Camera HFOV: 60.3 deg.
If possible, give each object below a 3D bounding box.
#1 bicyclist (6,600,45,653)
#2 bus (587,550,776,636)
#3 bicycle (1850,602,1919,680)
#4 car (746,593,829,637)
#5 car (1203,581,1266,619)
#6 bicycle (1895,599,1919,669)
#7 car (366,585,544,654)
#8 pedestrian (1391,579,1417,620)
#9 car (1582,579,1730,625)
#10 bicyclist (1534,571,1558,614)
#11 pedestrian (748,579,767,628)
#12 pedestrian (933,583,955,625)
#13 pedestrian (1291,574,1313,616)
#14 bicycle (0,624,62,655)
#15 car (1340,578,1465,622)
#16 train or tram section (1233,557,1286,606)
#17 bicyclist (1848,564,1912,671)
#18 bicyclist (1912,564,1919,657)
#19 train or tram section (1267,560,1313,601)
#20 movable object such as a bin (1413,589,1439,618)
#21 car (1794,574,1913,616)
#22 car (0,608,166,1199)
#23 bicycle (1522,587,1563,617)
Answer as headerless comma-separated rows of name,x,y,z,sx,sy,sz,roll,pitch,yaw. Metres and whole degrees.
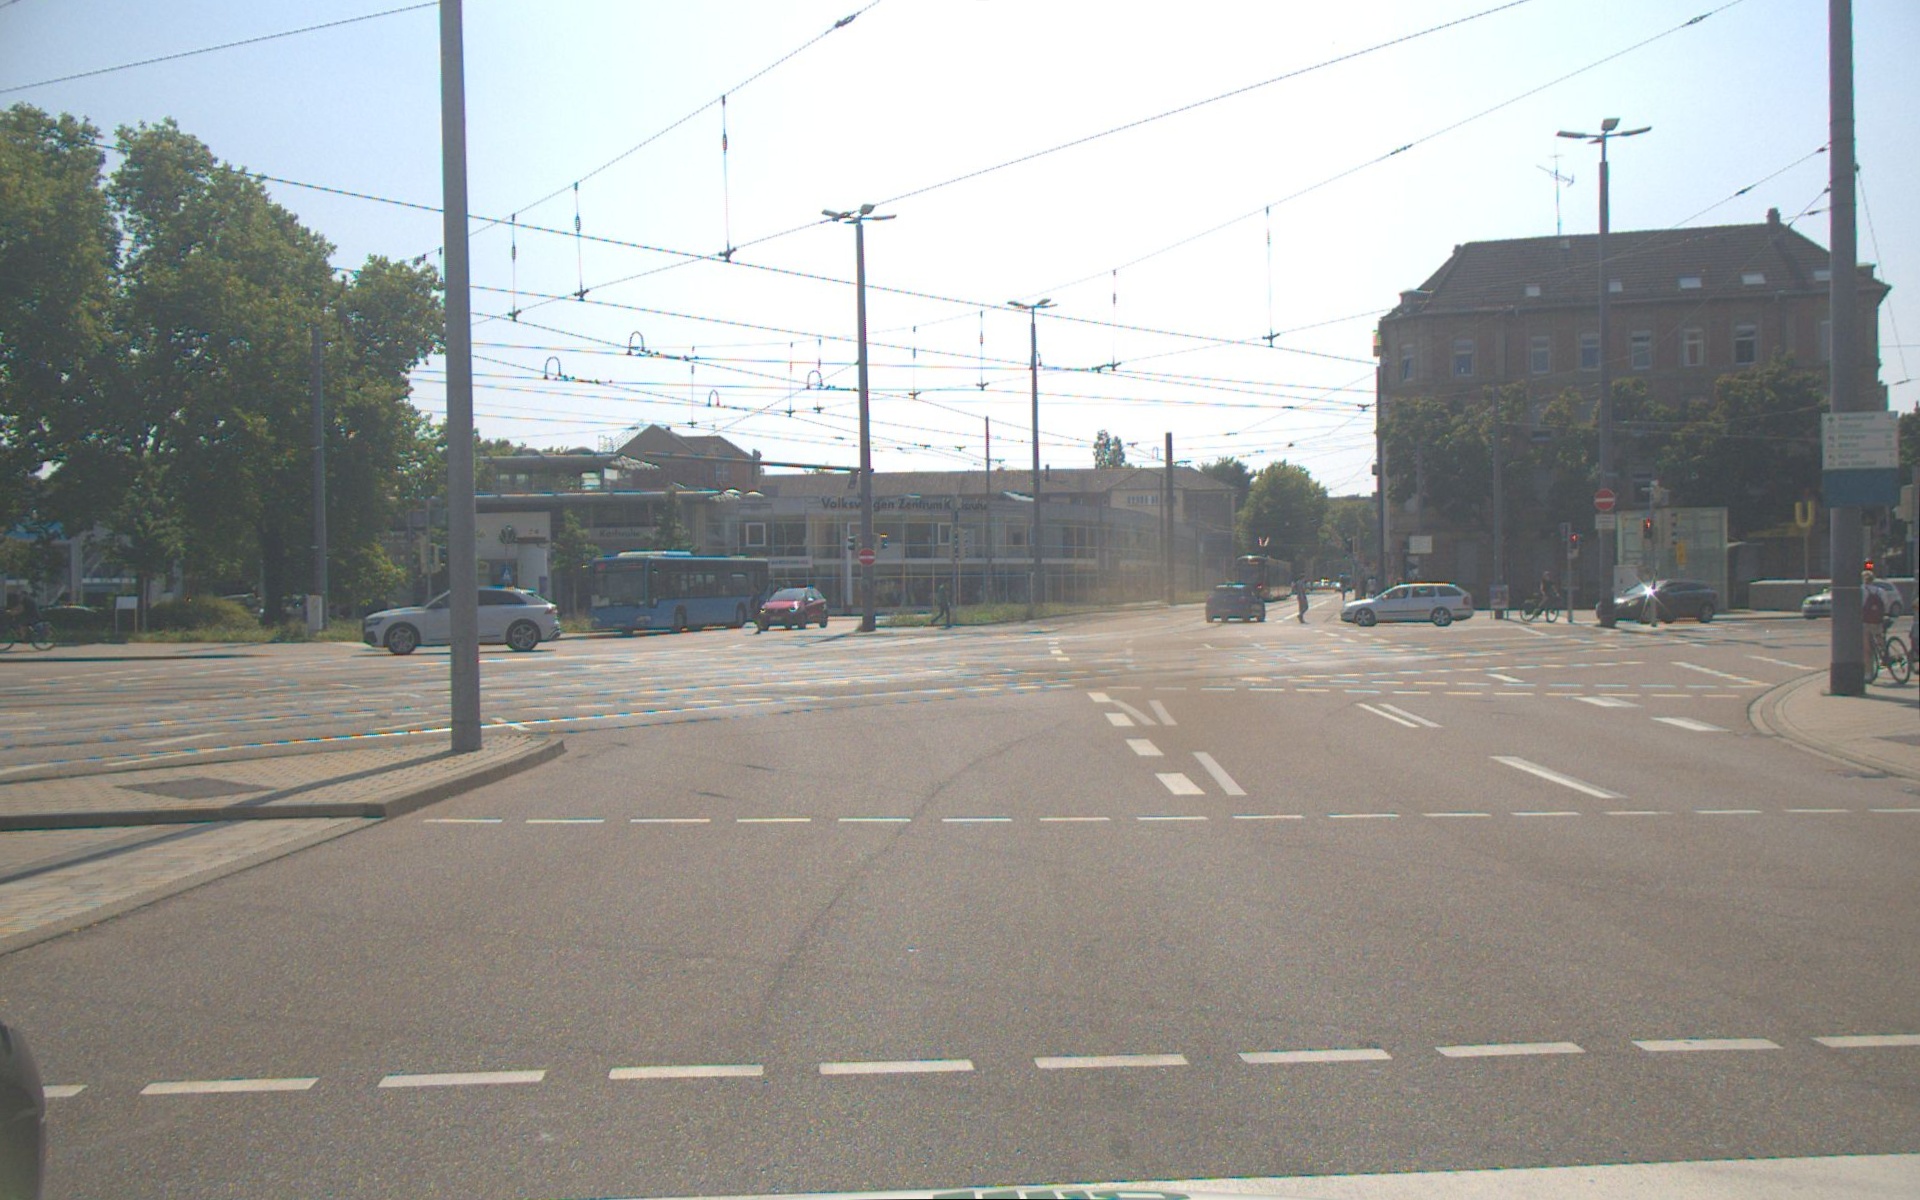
bicyclist,-26.890,0.750,47.606,0.857,1.501,0.543,-1,0,-18
bus,-10.890,-0.303,66.495,2.508,3.136,12.031,-1,0,16
bicycle,13.413,0.573,23.888,0.525,1.073,1.655,-1,0,12
car,-6.557,0.545,63.368,1.713,1.579,4.002,-1,0,17
car,10.818,-0.003,64.988,1.558,1.418,3.999,-1,0,23
bicycle,15.019,0.522,25.536,0.525,1.073,1.655,-1,0,12
car,-12.913,0.471,42.354,4.256,1.646,1.745,-1,0,-19
pedestrian,17.106,-0.011,63.739,0.834,1.572,0.528,-1,0,-9
car,23.473,0.051,55.770,4.684,1.440,1.765,-1,0,-20
bicyclist,21.447,-0.284,60.540,0.603,1.555,0.517,-1,0,-25
pedestrian,-7.034,0.118,57.473,0.544,1.713,0.452,-1,0,-19
pedestrian,-0.574,0.147,58.922,0.666,1.468,0.364,-1,0,-18
pedestrian,13.419,-0.196,64.854,0.686,1.631,0.572,-1,0,-8
bicycle,-26.924,1.137,47.584,1.828,0.816,0.604,-1,0,-19
car,15.285,0.006,57.092,4.087,1.440,1.777,-1,0,17
train or tram section,23.508,-1.439,129.397,2.534,3.578,10.904,-1,0,18
bicyclist,13.428,0.251,24.153,0.614,1.544,0.712,-1,0,12
bicyclist,14.939,0.162,25.155,0.519,1.417,0.894,-1,0,12
train or tram section,30.019,-1.736,149.980,2.534,3.578,12.979,-1,0,18
movable object such as a bin,17.886,0.144,63.451,0.798,1.096,0.510,-1,0,-11
car,32.809,-0.187,60.719,4.137,1.440,1.761,-1,0,-26
car,-2.535,0.724,1.393,1.728,1.412,3.783,1,0,3
bicycle,21.373,0.081,60.713,0.462,1.073,1.643,-1,0,-21
